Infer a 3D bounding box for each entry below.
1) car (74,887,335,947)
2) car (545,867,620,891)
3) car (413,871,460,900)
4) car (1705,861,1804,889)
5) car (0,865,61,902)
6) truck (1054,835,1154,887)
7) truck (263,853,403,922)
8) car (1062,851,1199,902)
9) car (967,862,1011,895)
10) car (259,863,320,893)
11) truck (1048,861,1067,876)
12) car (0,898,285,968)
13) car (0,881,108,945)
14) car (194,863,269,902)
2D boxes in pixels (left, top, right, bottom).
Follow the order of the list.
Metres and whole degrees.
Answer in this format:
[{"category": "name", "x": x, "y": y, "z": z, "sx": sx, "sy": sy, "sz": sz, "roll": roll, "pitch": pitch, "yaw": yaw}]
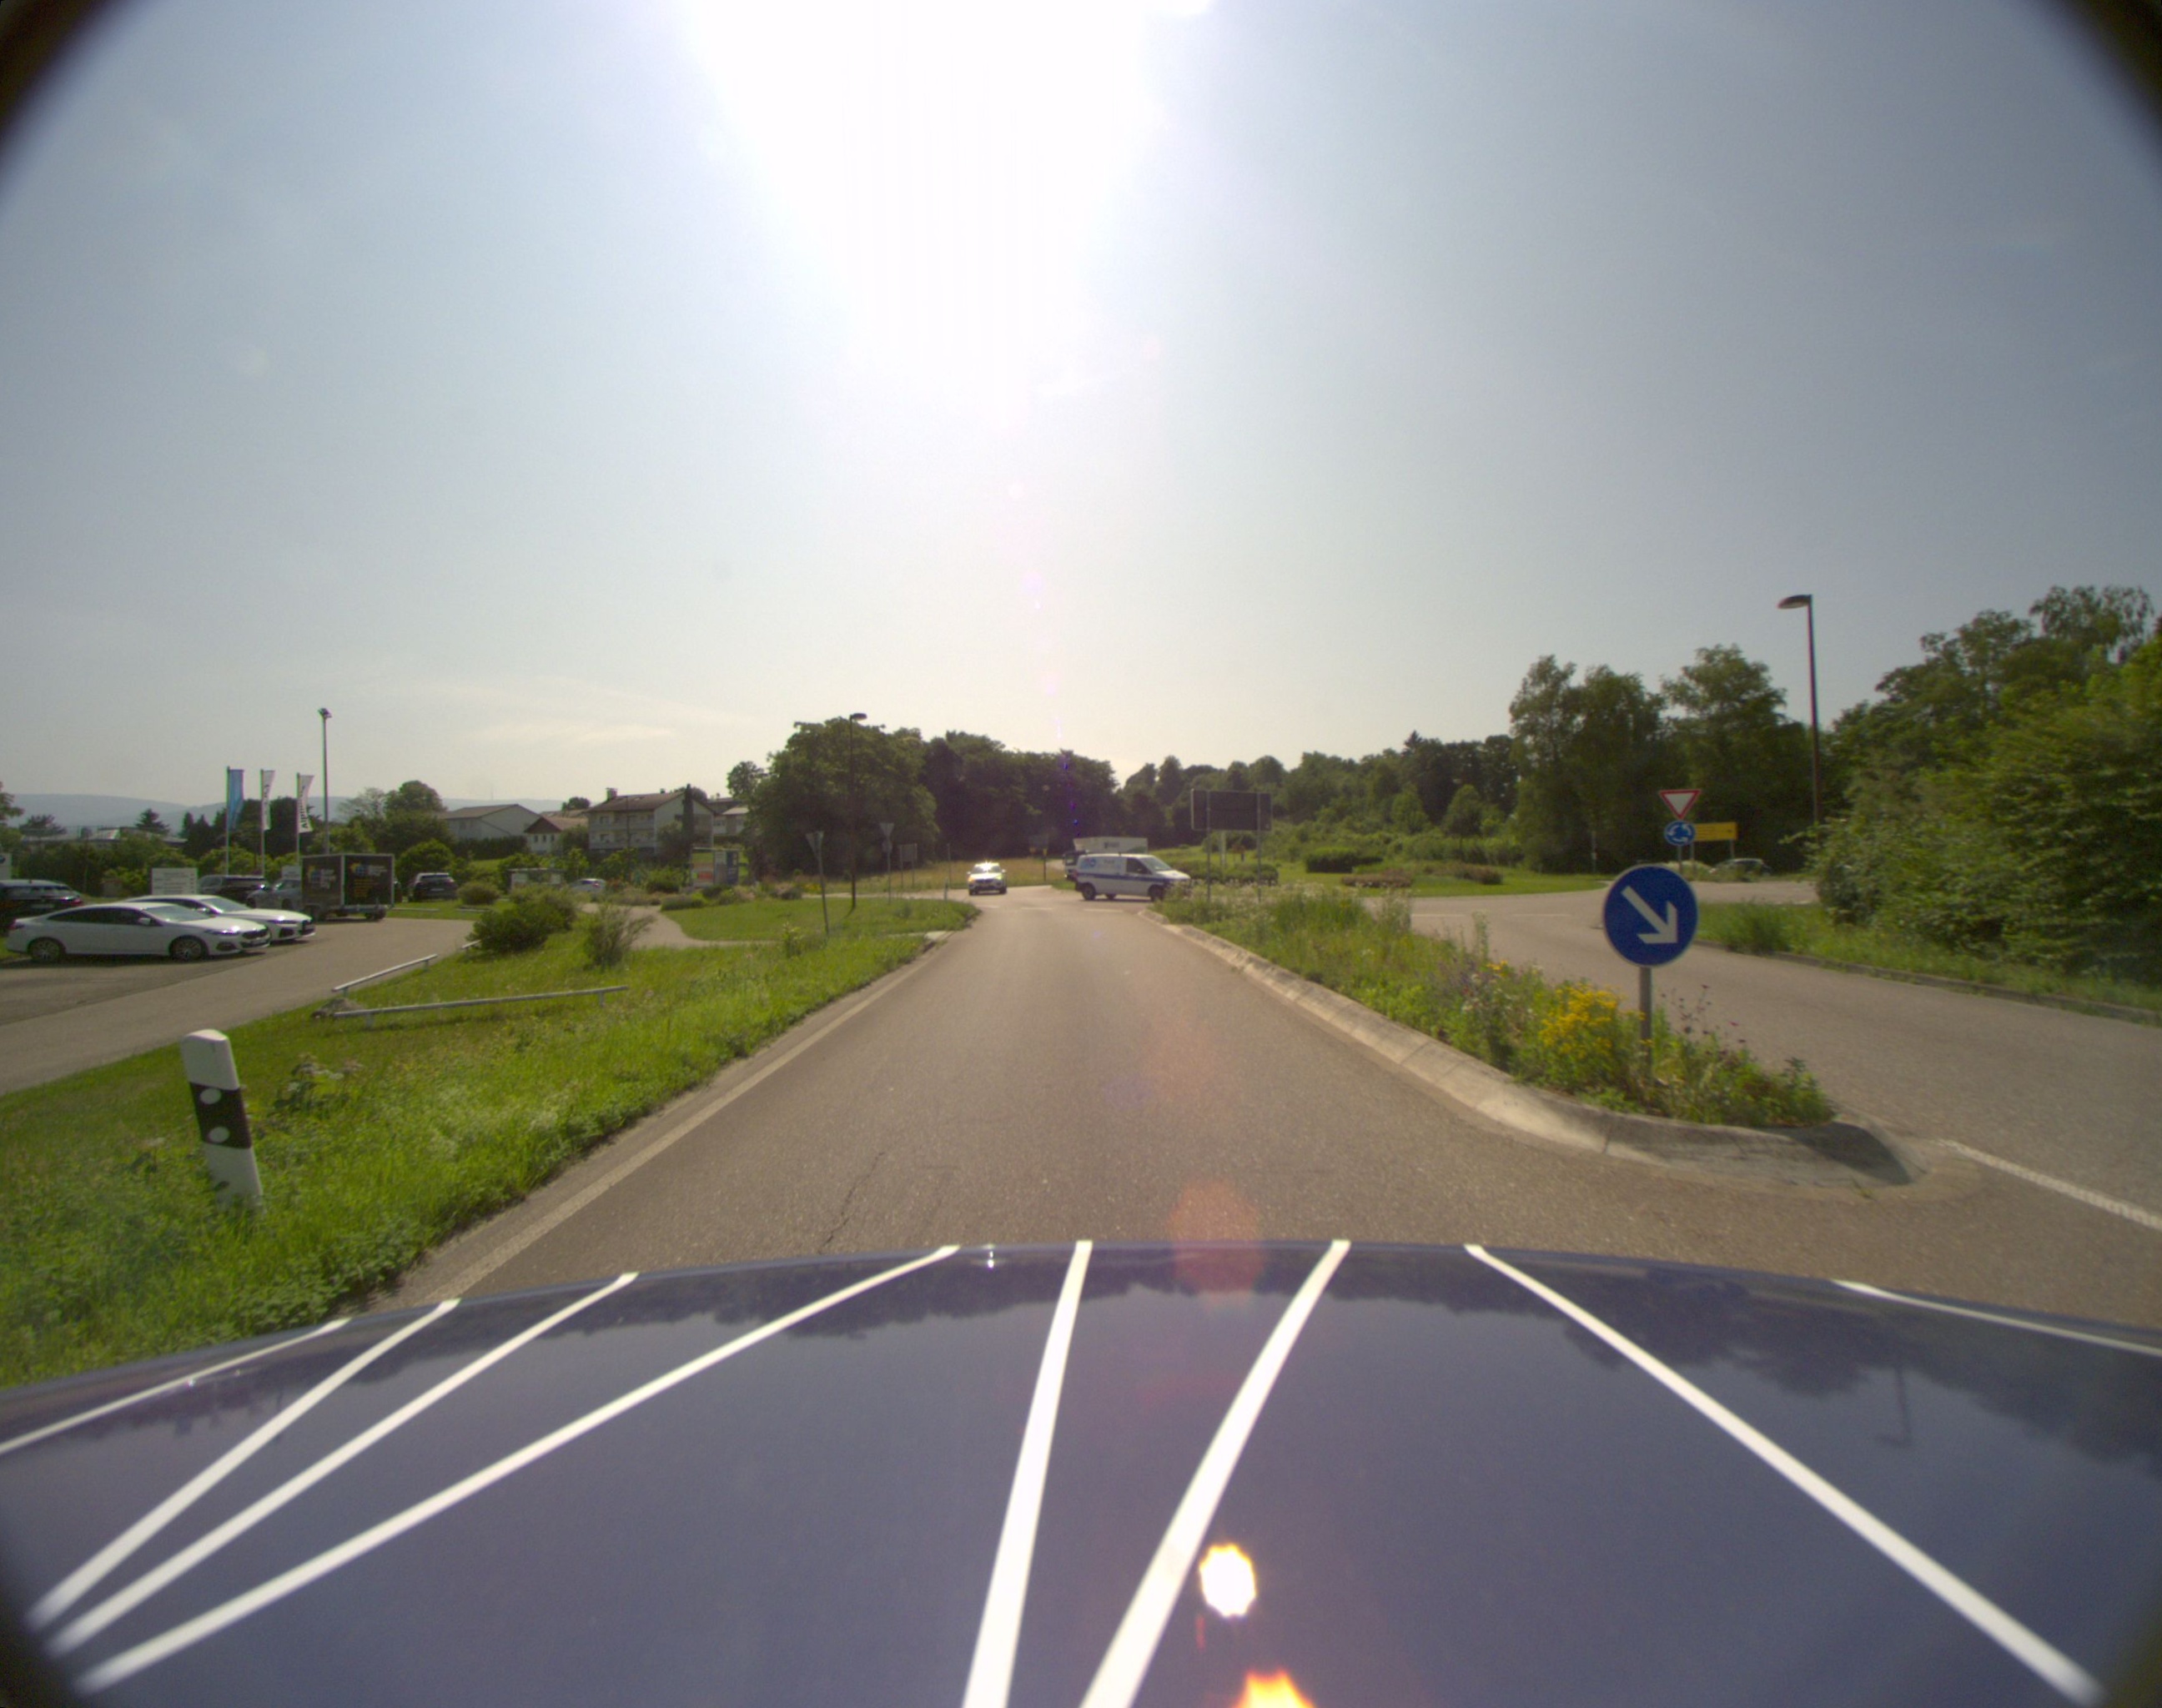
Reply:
[{"category": "car", "x": -25.455, "y": 1.843, "z": 22.326, "sx": 4.672, "sy": 1.561, "sz": 1.765, "roll": 3, "pitch": -1, "yaw": -24}, {"category": "car", "x": -37.033, "y": 1.866, "z": 56.511, "sx": 4.195, "sy": 1.605, "sz": 2.130, "roll": -3, "pitch": -2, "yaw": 2}, {"category": "car", "x": -36.327, "y": 1.733, "z": 42.783, "sx": 1.914, "sy": 1.503, "sz": 4.363, "roll": 1, "pitch": -1, "yaw": -42}, {"category": "car", "x": 44.446, "y": 1.357, "z": 50.220, "sx": 4.634, "sy": 1.642, "sz": 2.030, "roll": -2, "pitch": 0, "yaw": 3}, {"category": "car", "x": -61.533, "y": 1.713, "z": 42.882, "sx": 1.996, "sy": 2.002, "sz": 4.267, "roll": -2, "pitch": 0, "yaw": 20}, {"category": "truck", "x": 1.998, "y": 0.450, "z": 60.454, "sx": 2.892, "sy": 3.806, "sz": 9.042, "roll": -2, "pitch": 0, "yaw": 40}, {"category": "truck", "x": -30.677, "y": 1.305, "z": 31.145, "sx": 5.614, "sy": 2.649, "sz": 1.953, "roll": 0, "pitch": -1, "yaw": 21}, {"category": "car", "x": 2.034, "y": 0.927, "z": 31.092, "sx": 5.218, "sy": 1.926, "sz": 1.863, "roll": -2, "pitch": 0, "yaw": 22}, {"category": "car", "x": -5.060, "y": 1.287, "z": 41.207, "sx": 2.197, "sy": 1.642, "sz": 5.118, "roll": -2, "pitch": -1, "yaw": -8}, {"category": "car", "x": -42.301, "y": 1.259, "z": 40.693, "sx": 1.914, "sy": 1.503, "sz": 4.363, "roll": 1, "pitch": -1, "yaw": -42}, {"category": "truck", "x": -3.318, "y": 2.005, "z": 108.940, "sx": 2.361, "sy": 2.002, "sz": 5.441, "roll": -2, "pitch": 0, "yaw": 2}, {"category": "car", "x": -24.288, "y": 1.994, "z": 19.802, "sx": 4.581, "sy": 1.561, "sz": 1.765, "roll": 1, "pitch": 0, "yaw": -18}, {"category": "car", "x": -31.357, "y": 1.662, "z": 22.271, "sx": 4.417, "sy": 1.491, "sz": 1.952, "roll": 2, "pitch": 1, "yaw": 16}, {"category": "car", "x": -38.445, "y": 1.247, "z": 34.372, "sx": 3.808, "sy": 1.670, "sz": 1.914, "roll": -1, "pitch": -1, "yaw": 36}]
